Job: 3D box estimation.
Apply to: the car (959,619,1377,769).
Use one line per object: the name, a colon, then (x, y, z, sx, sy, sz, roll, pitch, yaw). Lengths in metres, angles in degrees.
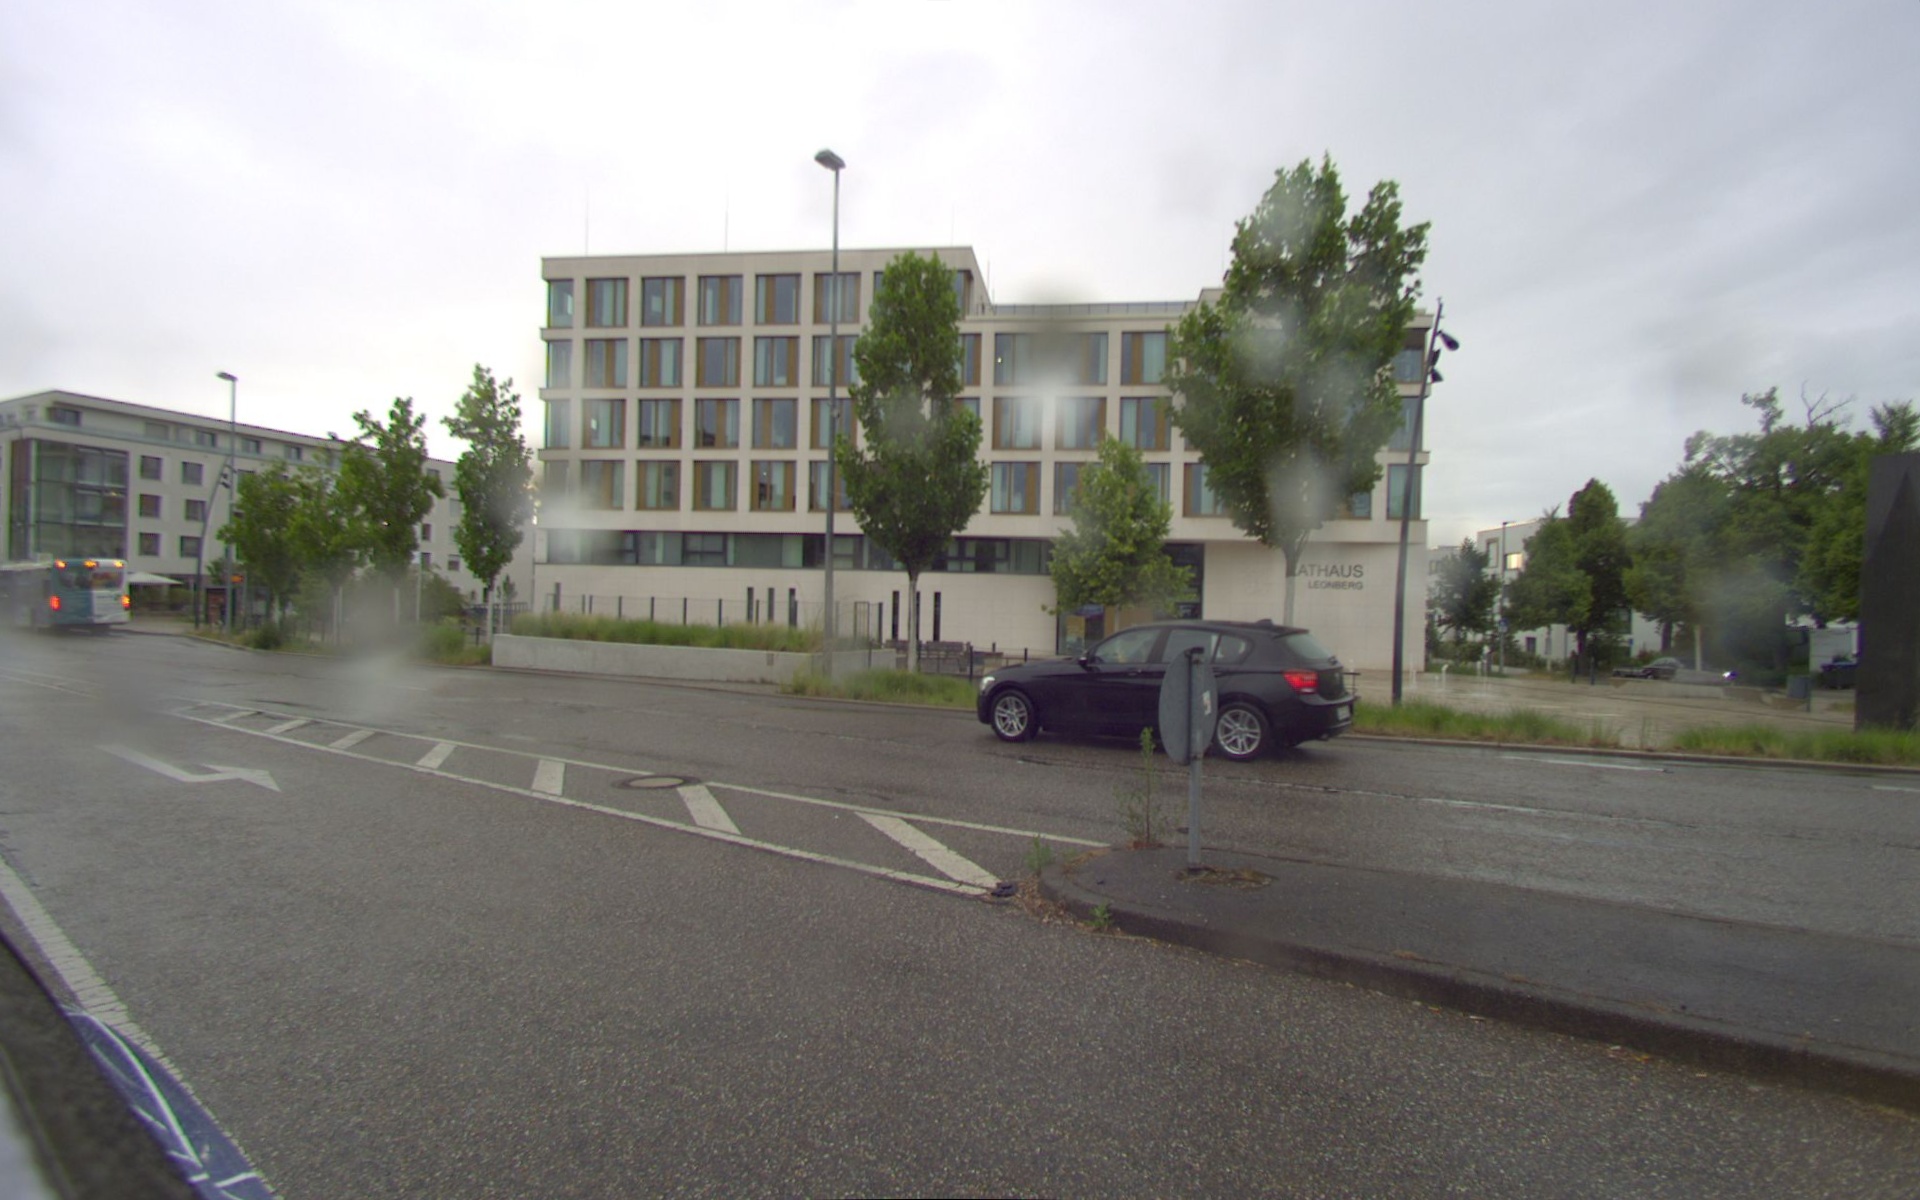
car: (2.248, 0.922, 11.388, 4.269, 1.401, 1.770, -1, -2, 33)

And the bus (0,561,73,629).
bus: (-47.282, -0.158, 50.294, 8.863, 3.138, 2.767, 0, -2, 35)

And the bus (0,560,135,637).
bus: (-39.811, -0.003, 44.983, 9.353, 3.138, 2.751, -1, -2, 37)

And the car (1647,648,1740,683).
car: (34.907, 3.114, 48.297, 1.978, 1.551, 3.987, 1, -3, 10)
